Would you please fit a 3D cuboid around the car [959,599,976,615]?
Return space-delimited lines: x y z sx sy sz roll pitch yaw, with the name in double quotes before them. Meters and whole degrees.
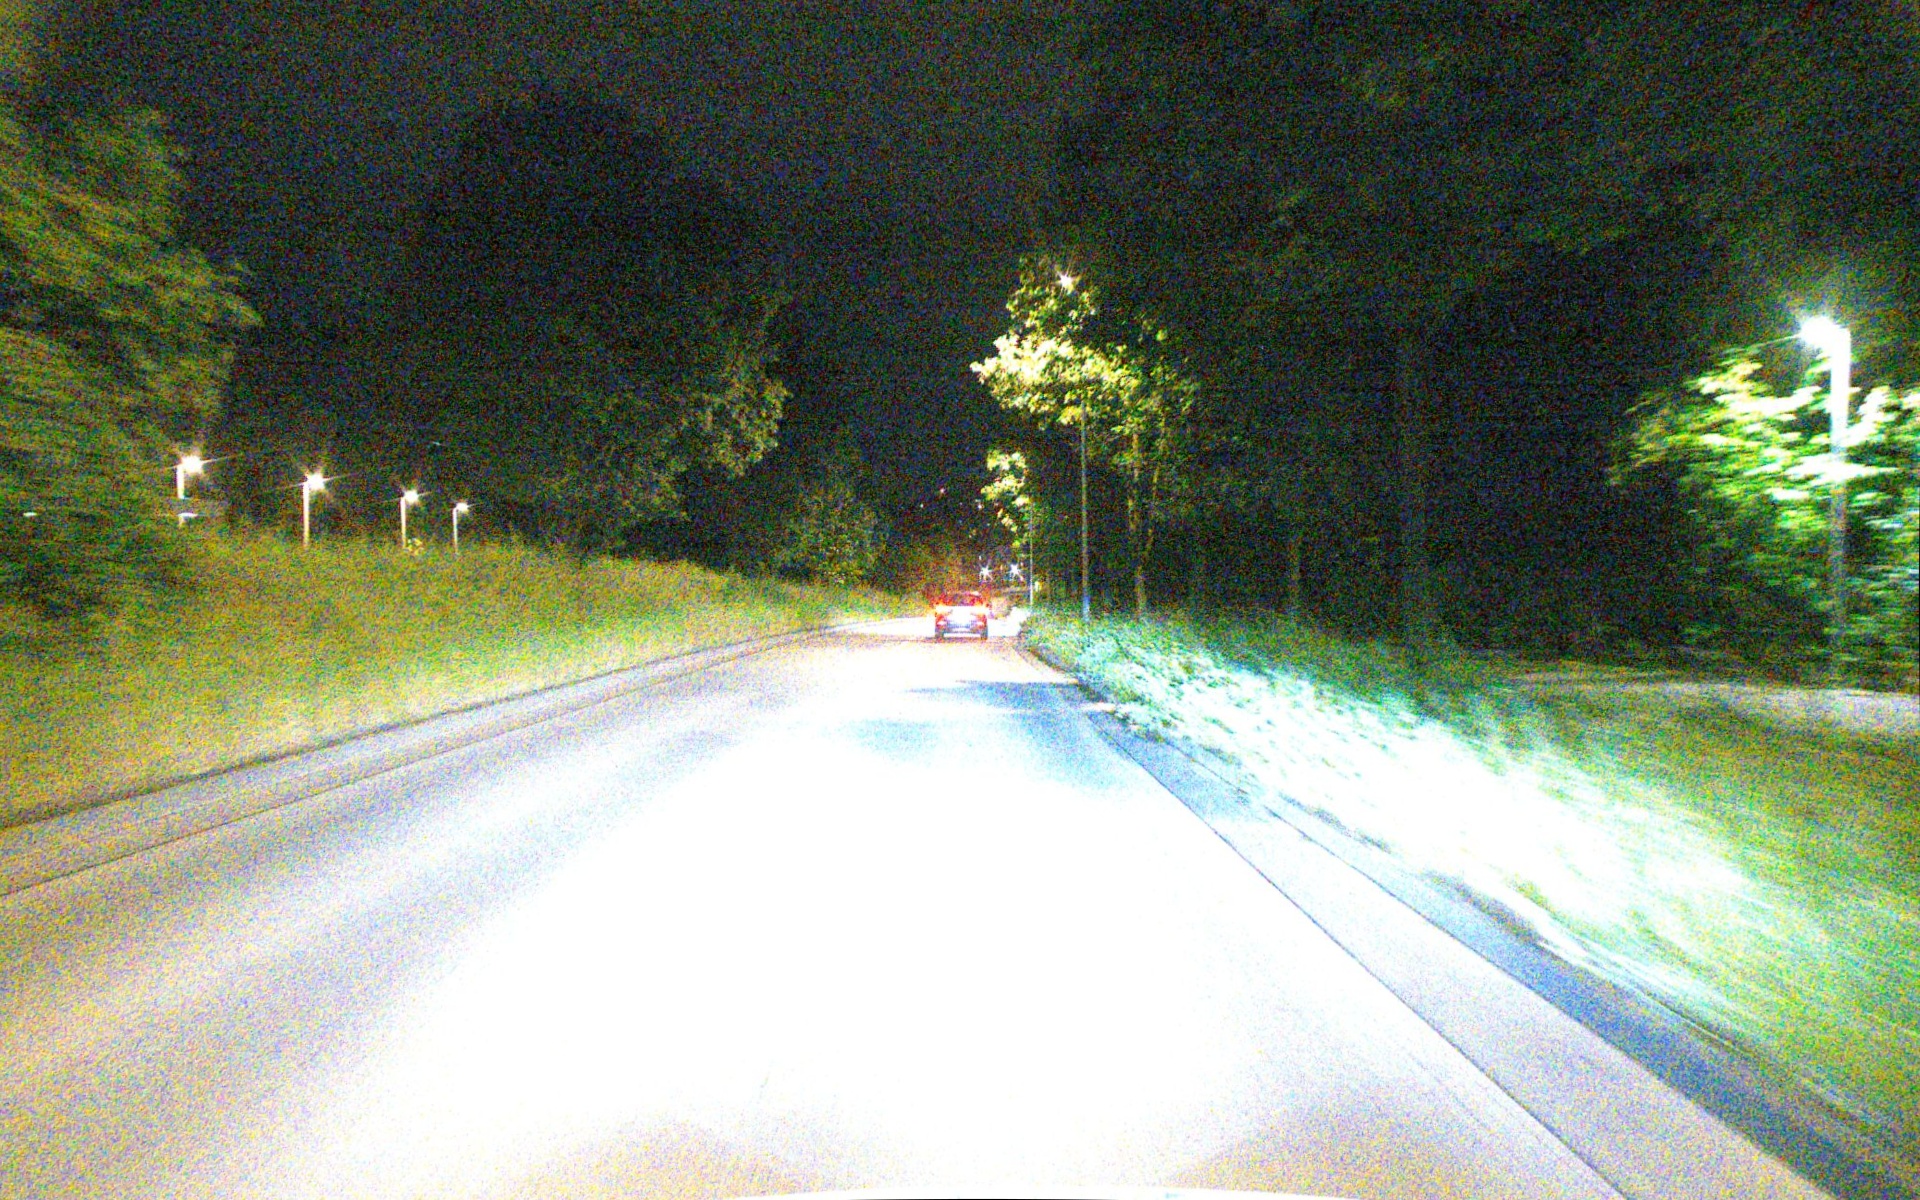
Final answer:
"car" 0.746 0.705 159.610 1.653 1.483 4.000 1 0 1

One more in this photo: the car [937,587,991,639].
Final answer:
"car" 0.098 0.428 56.279 1.727 1.670 3.721 1 0 -1
